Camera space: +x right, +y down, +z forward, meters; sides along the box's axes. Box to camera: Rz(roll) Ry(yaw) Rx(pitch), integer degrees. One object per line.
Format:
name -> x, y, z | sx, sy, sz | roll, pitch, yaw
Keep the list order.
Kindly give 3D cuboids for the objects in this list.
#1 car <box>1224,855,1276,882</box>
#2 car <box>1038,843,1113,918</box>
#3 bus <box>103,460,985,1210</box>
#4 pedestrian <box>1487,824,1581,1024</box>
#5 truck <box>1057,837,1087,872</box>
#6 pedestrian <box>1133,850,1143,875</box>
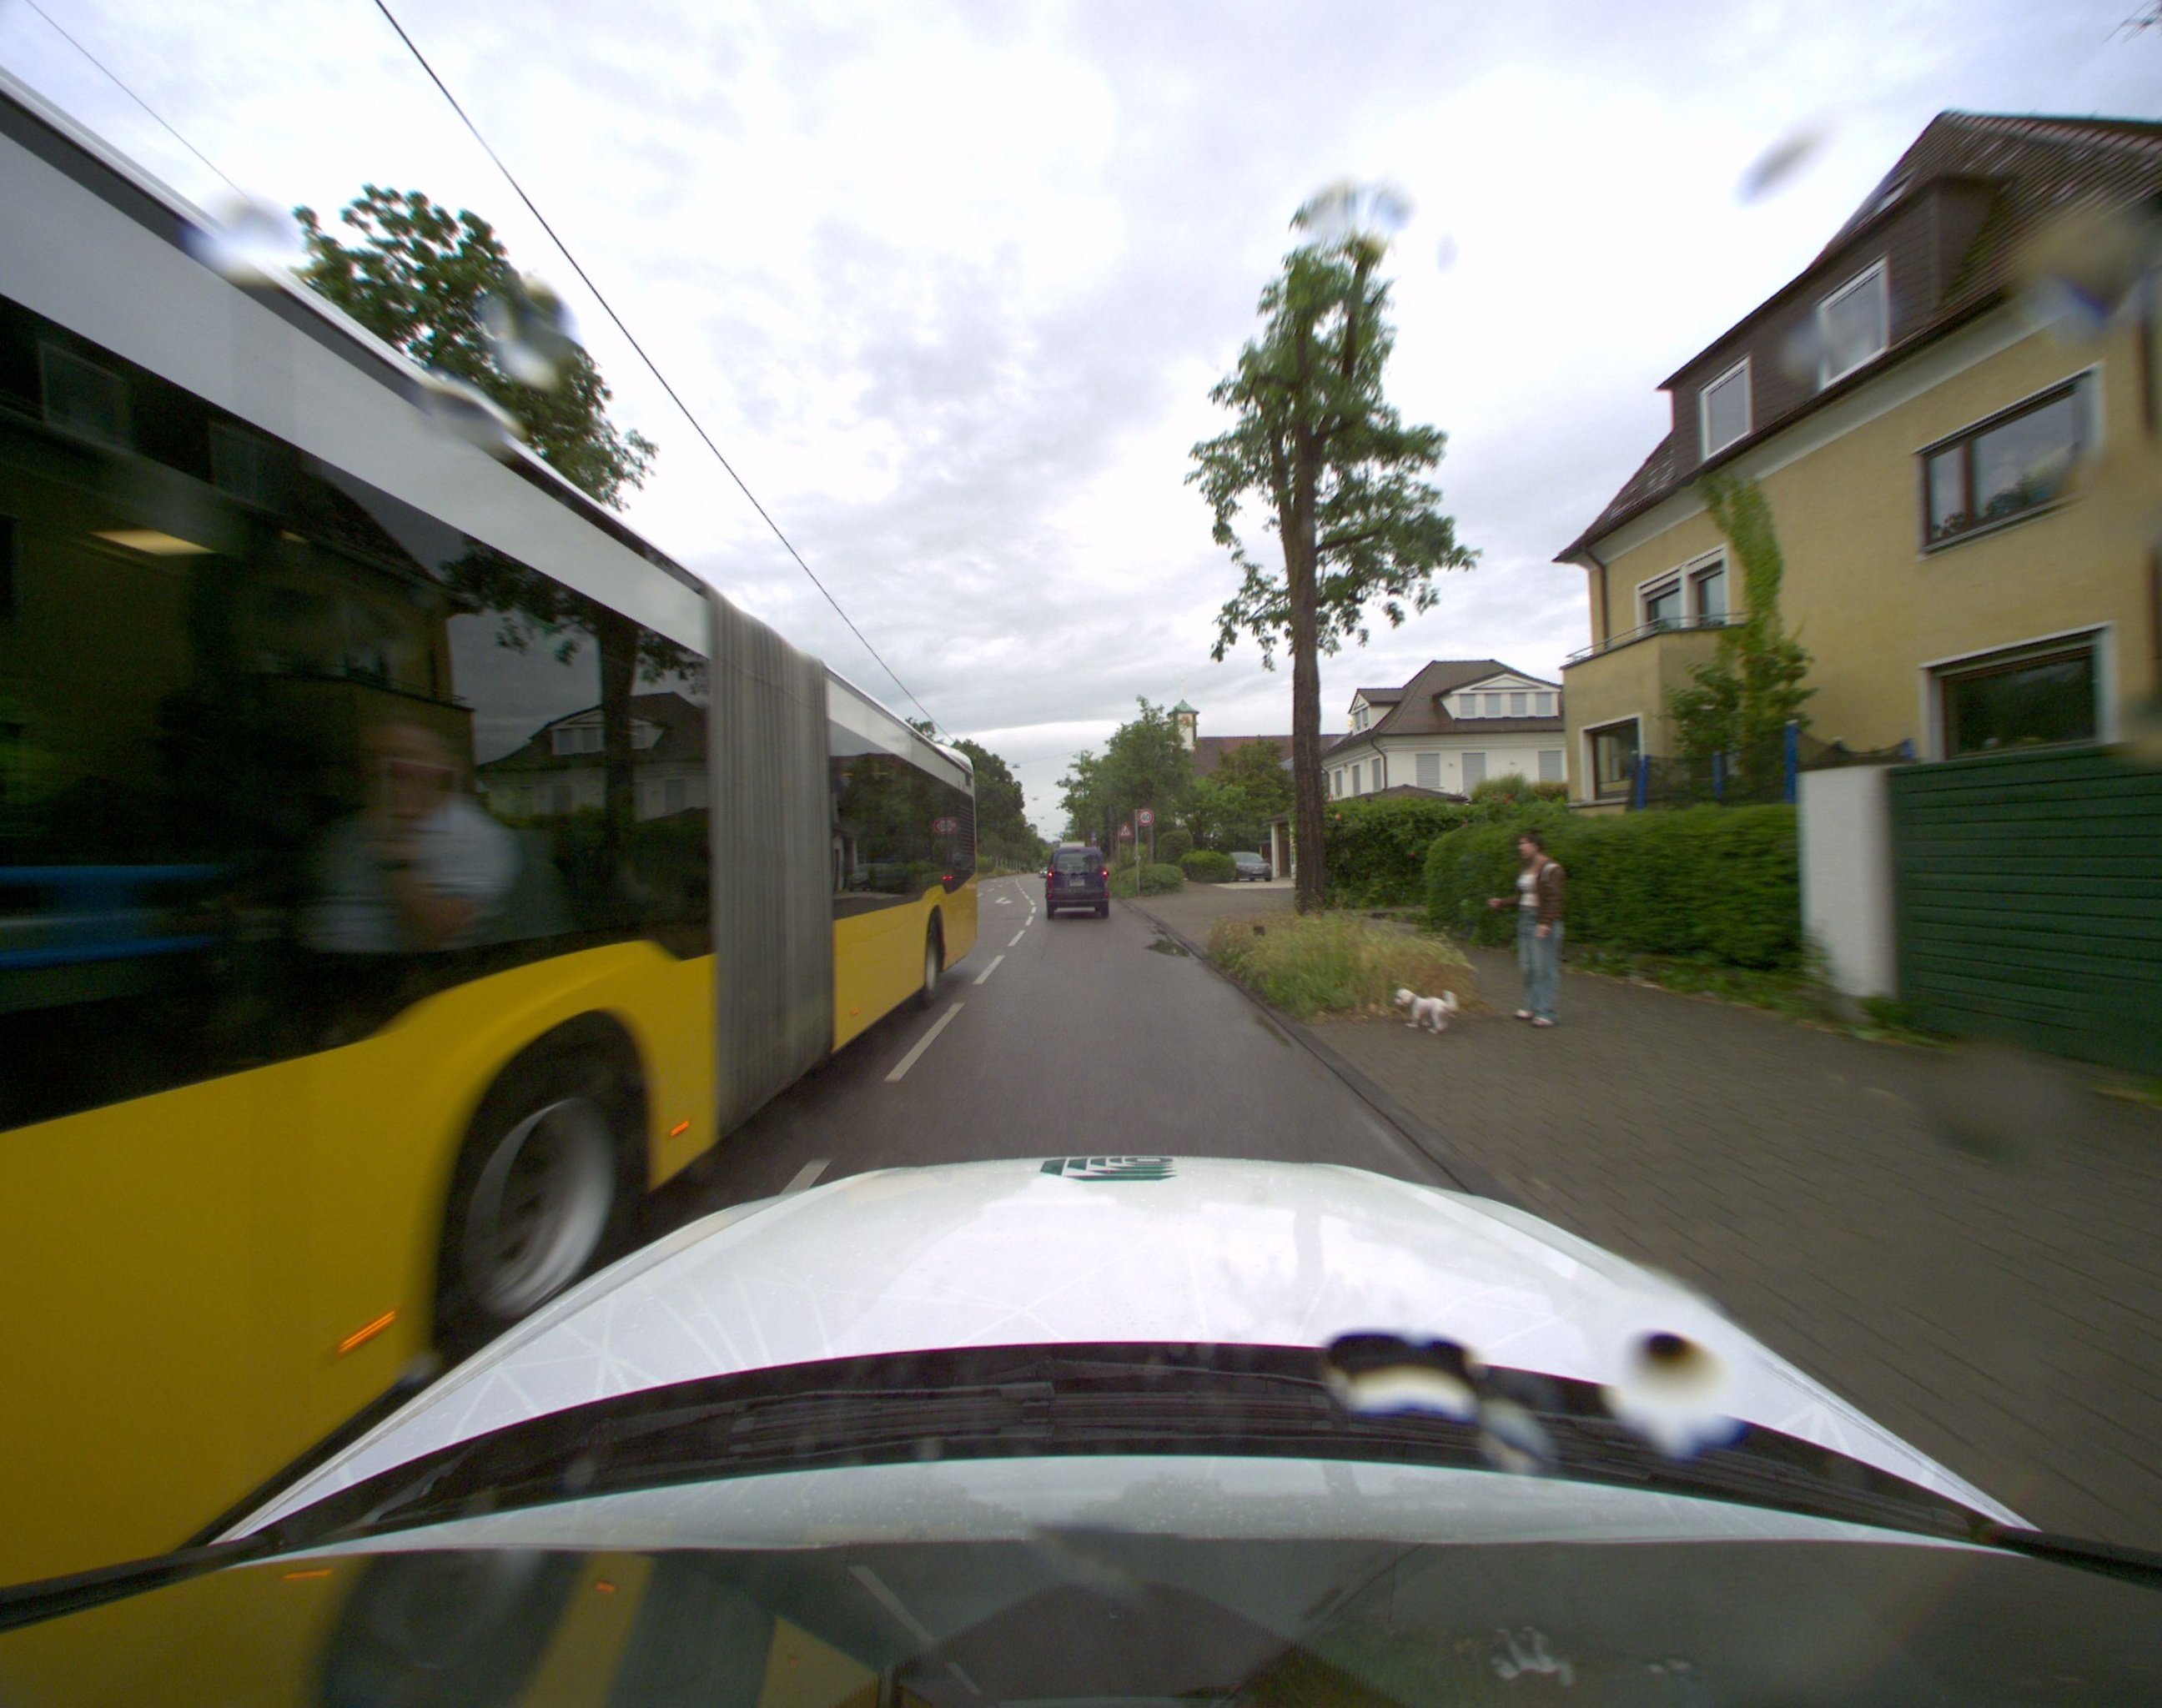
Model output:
car -> 8.095, 0.675, 39.389 | 1.824, 1.176, 4.002 | -1, 0, 2
car -> -0.125, 0.672, 22.355 | 1.803, 1.797, 3.999 | -2, 0, 0
bus -> -2.803, -0.065, 7.787 | 2.586, 3.158, 8.636 | -1, 0, 1
pedestrian -> 3.600, 0.538, 6.499 | 0.480, 1.534, 0.439 | -1, -1, -3
truck -> -1.005, 0.113, 84.913 | 2.725, 3.387, 6.677 | -2, 0, -3
pedestrian -> 3.981, 0.607, 56.903 | 0.558, 1.708, 0.517 | -2, -1, 7
